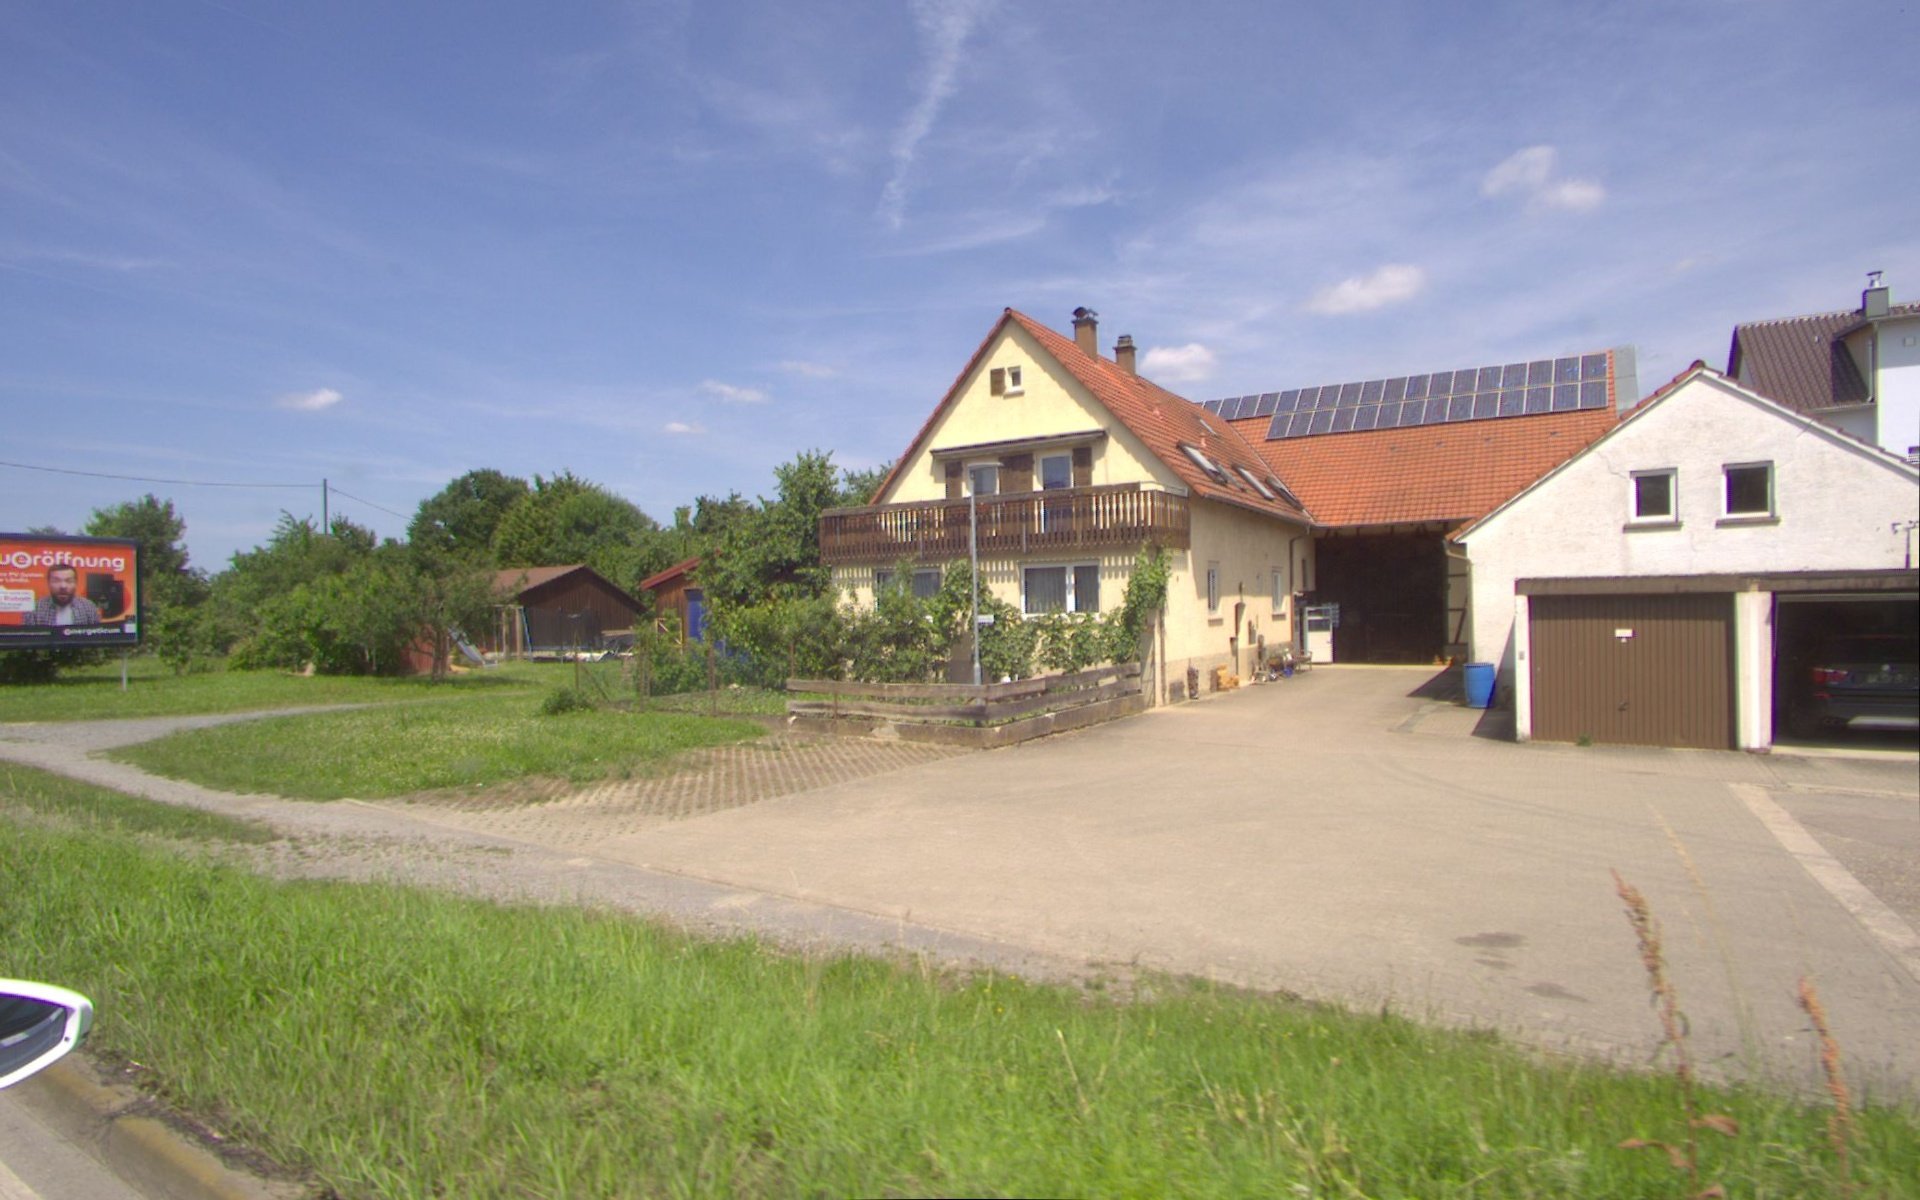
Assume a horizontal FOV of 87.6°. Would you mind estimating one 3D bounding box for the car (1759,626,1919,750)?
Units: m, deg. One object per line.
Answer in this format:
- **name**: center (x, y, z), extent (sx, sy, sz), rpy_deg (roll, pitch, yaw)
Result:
- **car**: center (13.933, 1.268, 15.619), extent (1.808, 1.599, 3.979), rpy_deg (-1, -1, 32)
